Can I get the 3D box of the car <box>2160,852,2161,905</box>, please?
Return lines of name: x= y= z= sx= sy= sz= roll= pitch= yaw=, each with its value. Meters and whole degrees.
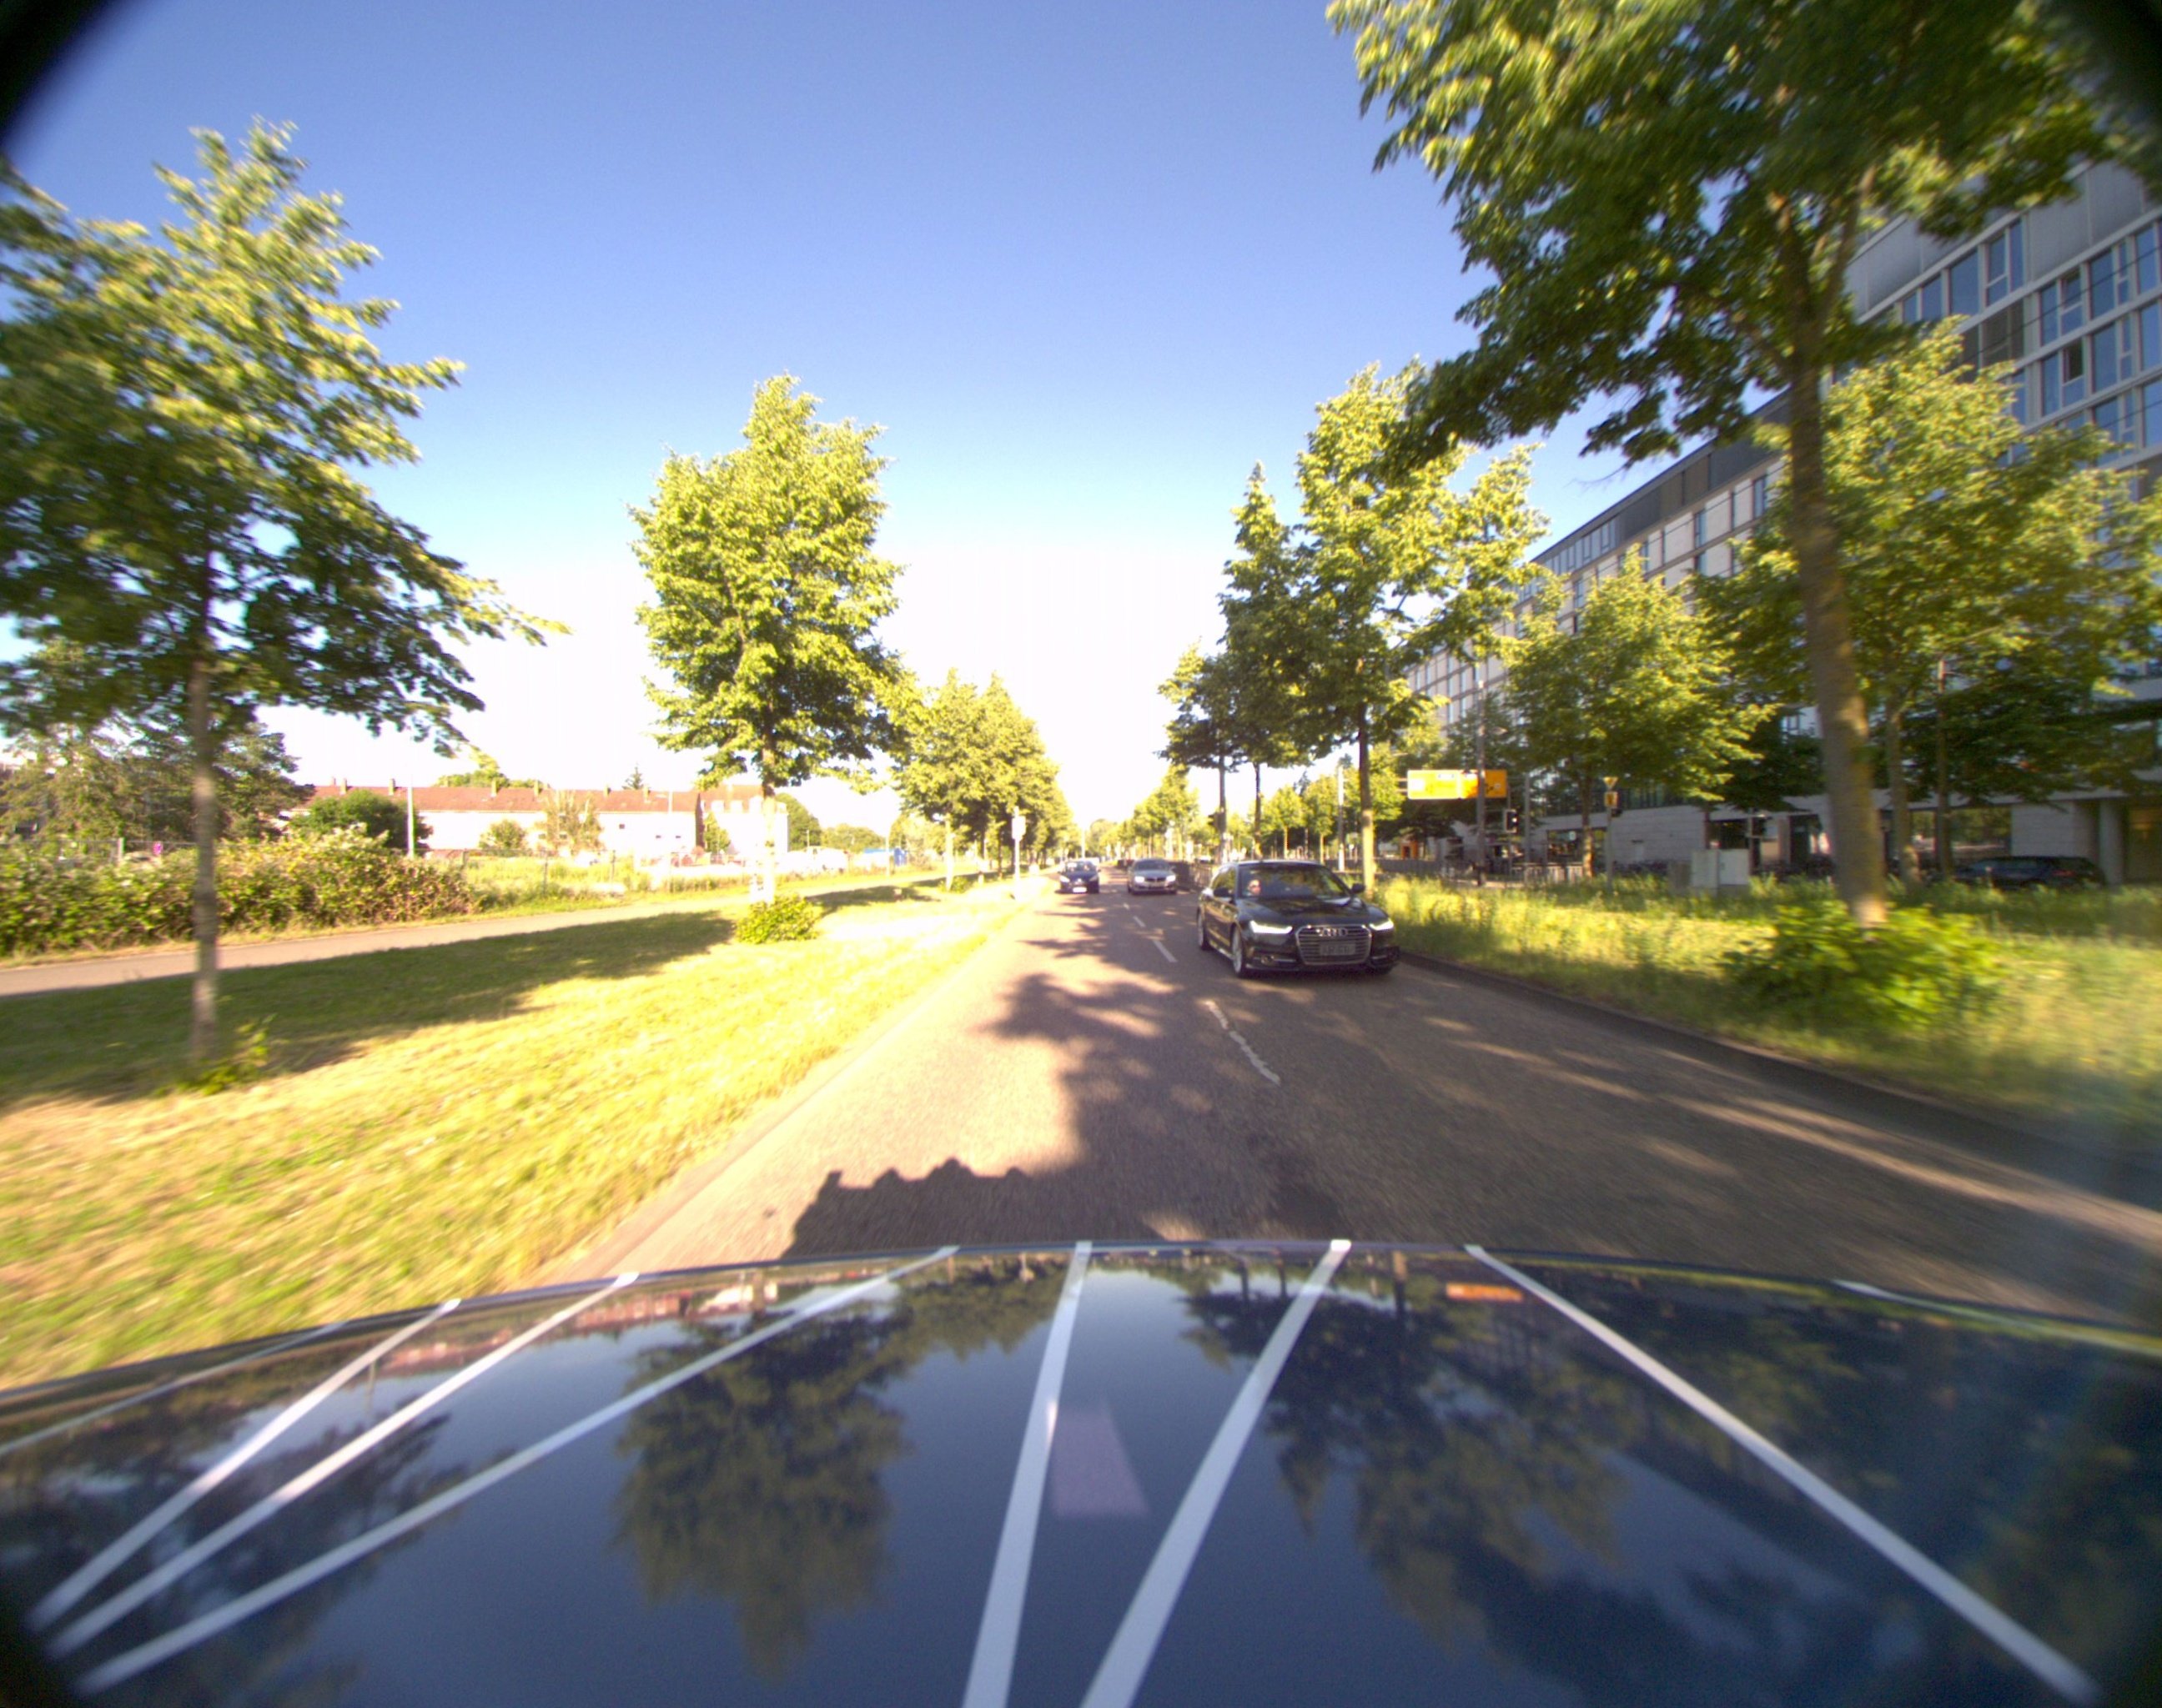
car: x=25.695 y=0.555 z=15.737 sx=1.773 sy=1.231 sz=3.484 roll=-1 pitch=0 yaw=1

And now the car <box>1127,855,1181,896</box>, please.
car: x=3.003 y=0.838 z=32.098 sx=1.849 sy=1.560 sz=4.528 roll=-1 pitch=0 yaw=0

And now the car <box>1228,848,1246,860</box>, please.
car: x=23.568 y=-0.032 z=114.824 sx=1.998 sy=1.739 sz=4.228 roll=0 pitch=0 yaw=1

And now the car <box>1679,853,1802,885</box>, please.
car: x=31.265 y=0.685 z=36.223 sx=2.004 sy=1.412 sz=4.545 roll=-1 pitch=0 yaw=1

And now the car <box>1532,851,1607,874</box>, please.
car: x=31.508 y=0.518 z=49.182 sx=1.963 sy=1.412 sz=4.545 roll=-1 pitch=0 yaw=1

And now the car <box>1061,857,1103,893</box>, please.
car: x=0.089 y=0.919 z=34.488 sx=1.763 sy=1.506 sz=3.949 roll=-1 pitch=0 yaw=2

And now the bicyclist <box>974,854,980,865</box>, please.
bicyclist: x=-13.989 y=0.716 z=101.779 sx=0.654 sy=1.544 sz=0.794 roll=-1 pitch=1 yaw=1

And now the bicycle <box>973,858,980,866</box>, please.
bicycle: x=-13.995 y=1.112 z=101.805 sx=0.657 sy=1.006 sz=1.820 roll=-1 pitch=0 yaw=1

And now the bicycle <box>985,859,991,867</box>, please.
bicycle: x=-12.450 y=1.182 z=101.875 sx=0.507 sy=1.145 sz=1.605 roll=1 pitch=0 yaw=0

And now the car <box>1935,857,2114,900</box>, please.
car: x=31.314 y=0.777 z=25.383 sx=1.654 sy=1.228 sz=3.464 roll=-1 pitch=1 yaw=0

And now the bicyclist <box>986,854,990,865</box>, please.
bicyclist: x=-12.468 y=0.724 z=101.886 sx=0.504 sy=1.464 sz=0.833 roll=-1 pitch=1 yaw=0

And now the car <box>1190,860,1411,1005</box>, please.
car: x=2.749 y=0.884 z=10.668 sx=1.788 sy=1.518 sz=4.601 roll=-2 pitch=0 yaw=1

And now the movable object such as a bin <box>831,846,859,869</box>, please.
movable object such as a bin: x=-21.250 y=0.341 z=68.449 sx=1.799 sy=2.002 sz=1.789 roll=-1 pitch=2 yaw=2
